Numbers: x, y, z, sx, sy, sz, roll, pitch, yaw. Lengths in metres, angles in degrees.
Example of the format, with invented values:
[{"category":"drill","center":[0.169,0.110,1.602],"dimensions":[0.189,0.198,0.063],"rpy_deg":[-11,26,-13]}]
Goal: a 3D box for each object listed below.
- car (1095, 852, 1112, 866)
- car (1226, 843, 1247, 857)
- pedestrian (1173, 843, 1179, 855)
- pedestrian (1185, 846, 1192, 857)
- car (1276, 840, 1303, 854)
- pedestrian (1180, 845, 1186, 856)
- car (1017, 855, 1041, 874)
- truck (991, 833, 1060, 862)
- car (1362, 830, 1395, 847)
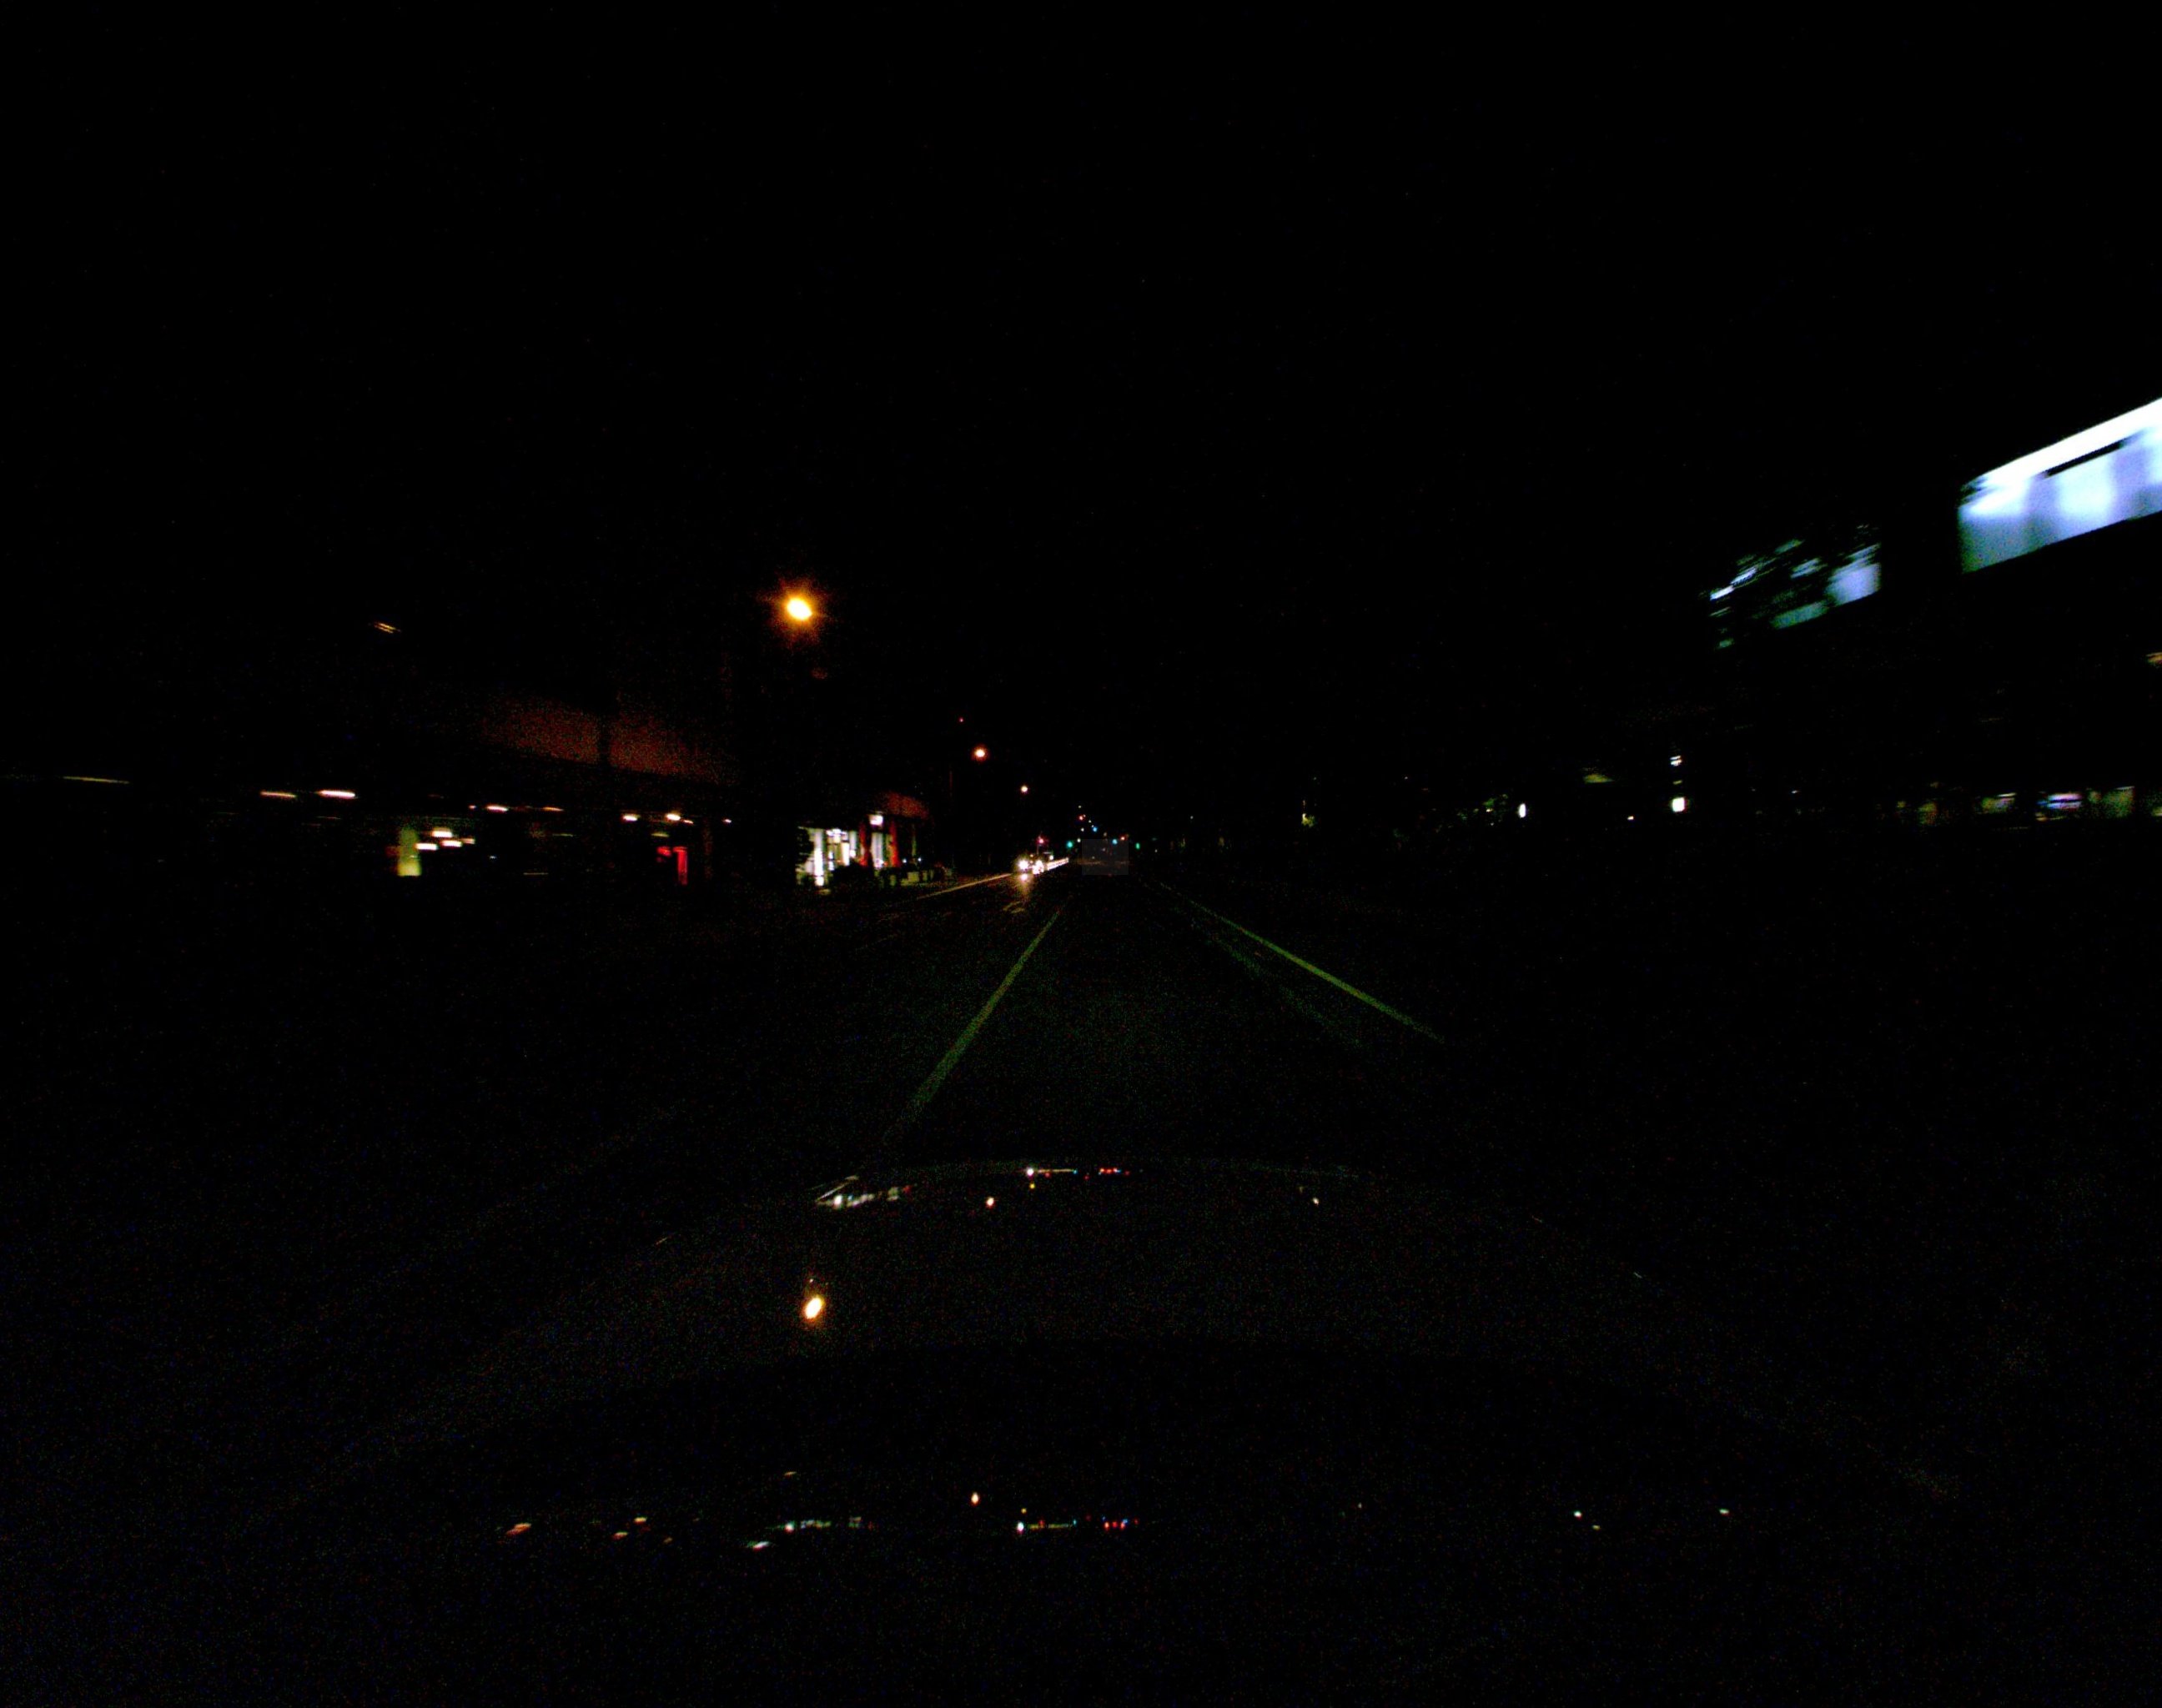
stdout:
[{"category":"car","center":[2.416,0.528,86.766],"dimensions":[1.798,1.494,4.732],"rpy_deg":[0,0,2]},{"category":"car","center":[17.502,-0.437,91.714],"dimensions":[1.507,1.395,4.482],"rpy_deg":[-2,0,1]},{"category":"pedestrian","center":[15.130,-0.784,129.333],"dimensions":[0.711,1.769,0.907],"rpy_deg":[-3,0,1]},{"category":"pedestrian","center":[17.135,-0.405,129.515],"dimensions":[0.899,1.769,0.905],"rpy_deg":[-3,0,-5]},{"category":"car","center":[23.693,-0.784,92.567],"dimensions":[1.778,1.533,3.995],"rpy_deg":[-2,0,-3]},{"category":"pedestrian","center":[16.152,-0.590,129.413],"dimensions":[0.736,1.769,0.907],"rpy_deg":[-3,0,1]},{"category":"car","center":[-4.394,0.897,69.378],"dimensions":[1.661,1.428,4.000],"rpy_deg":[-4,0,0]},{"category":"truck","center":[-8.314,-1.018,122.503],"dimensions":[10.063,3.717,2.759],"rpy_deg":[-3,0,-5]},{"category":"car","center":[28.676,-1.506,78.688],"dimensions":[1.762,1.533,4.100],"rpy_deg":[-2,0,1]}]
